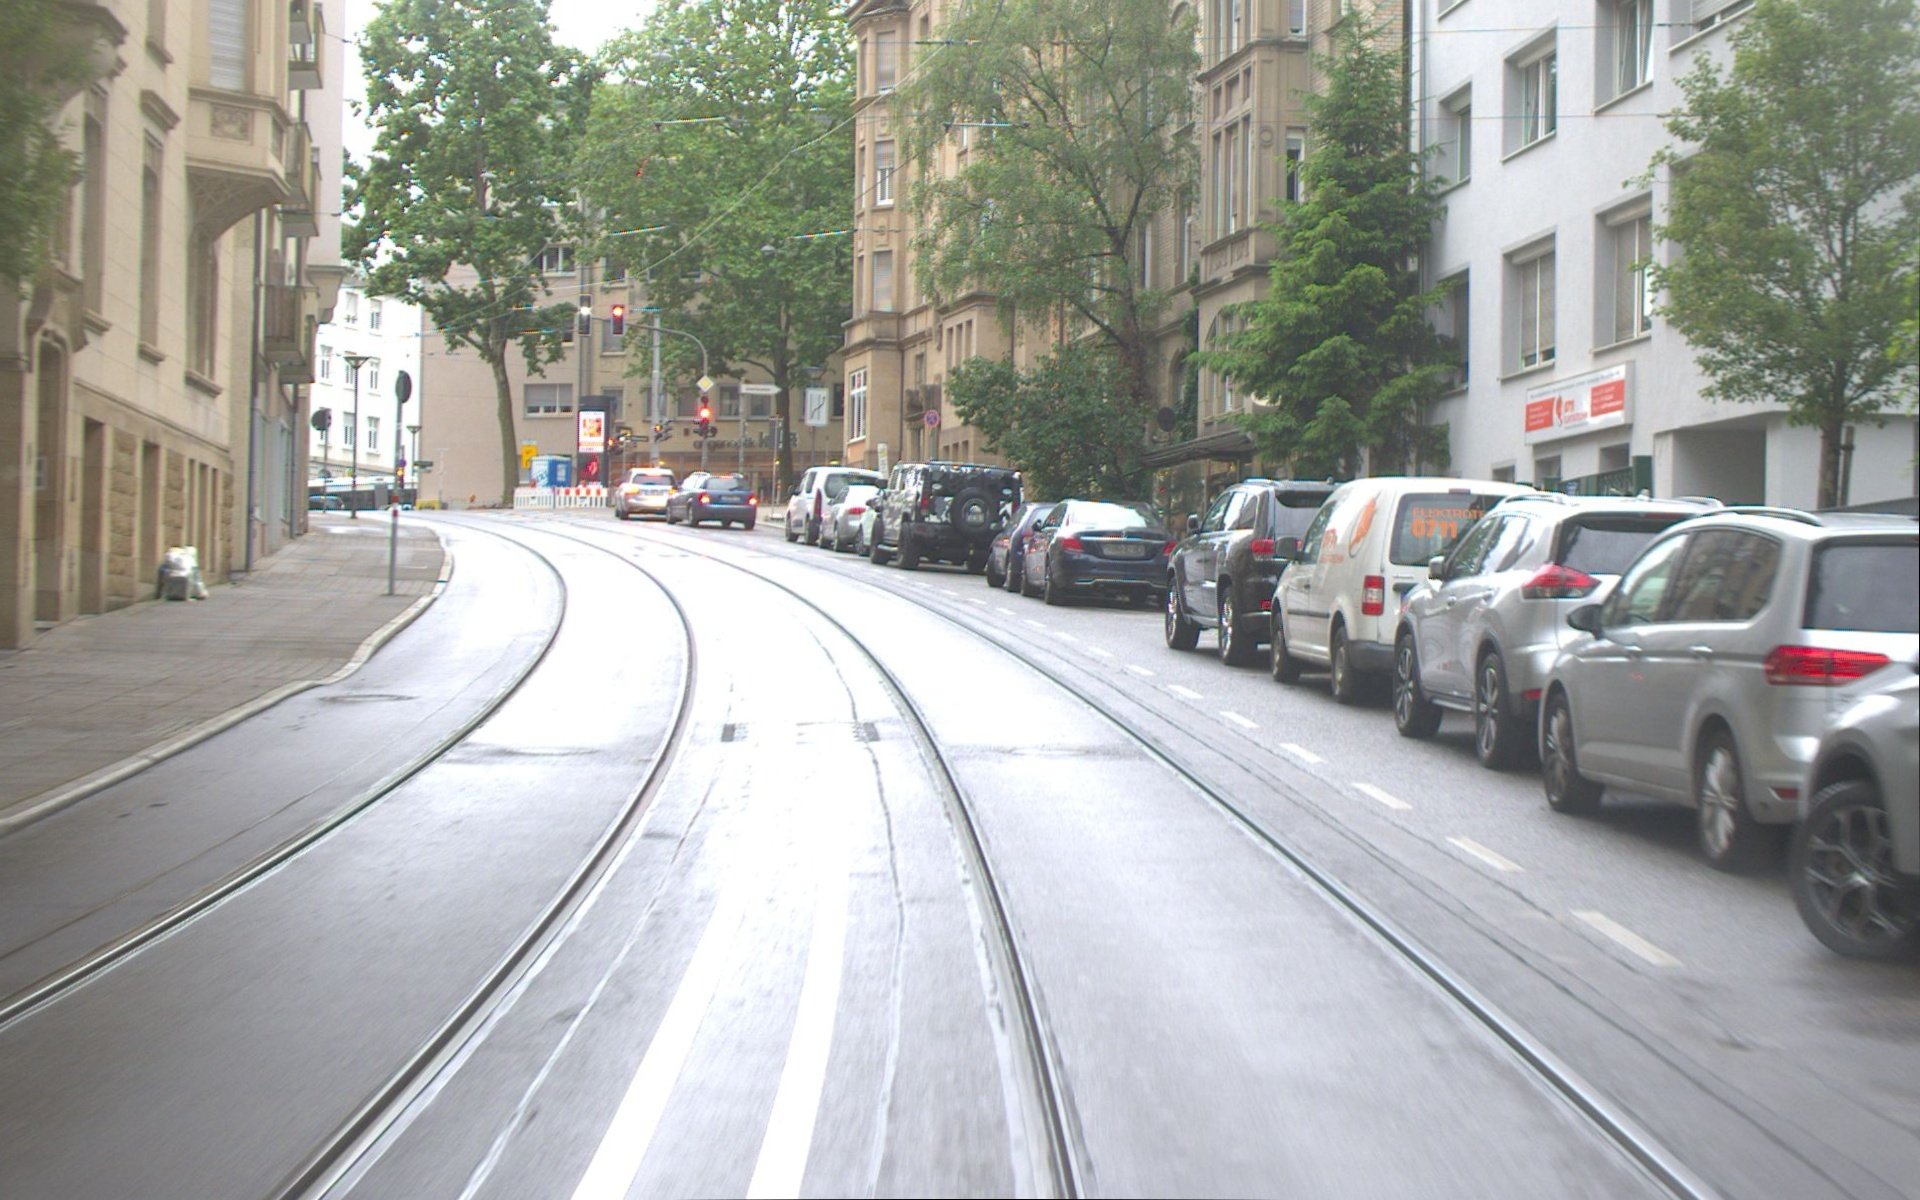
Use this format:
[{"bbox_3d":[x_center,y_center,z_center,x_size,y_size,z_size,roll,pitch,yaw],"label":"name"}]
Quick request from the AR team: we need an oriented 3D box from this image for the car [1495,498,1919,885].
[{"bbox_3d":[4.158,0.341,17.086,1.832,1.622,4.665,2,2,-5],"label":"car"}]

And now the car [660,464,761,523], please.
[{"bbox_3d":[-6.680,-2.848,91.760,1.710,1.410,4.038,1,3,-18],"label":"car"}]

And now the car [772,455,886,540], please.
[{"bbox_3d":[-3.018,-2.356,78.169,1.797,1.759,4.465,3,2,-12],"label":"car"}]

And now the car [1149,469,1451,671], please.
[{"bbox_3d":[3.272,-0.353,34.109,1.942,1.789,4.822,2,2,-6],"label":"car"}]

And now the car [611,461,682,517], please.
[{"bbox_3d":[-8.922,-3.160,97.602,1.710,1.451,3.554,2,2,-9],"label":"car"}]

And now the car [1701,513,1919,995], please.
[{"bbox_3d":[4.218,0.556,11.319,1.974,1.579,4.568,2,2,-8],"label":"car"}]

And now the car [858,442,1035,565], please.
[{"bbox_3d":[-0.299,-1.779,61.975,2.128,2.006,5.352,3,2,-11],"label":"car"}]

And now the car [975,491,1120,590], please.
[{"bbox_3d":[1.285,-0.929,52.036,1.678,1.333,3.884,2,2,-6],"label":"car"}]

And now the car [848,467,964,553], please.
[{"bbox_3d":[-1.103,-1.796,67.925,1.559,1.540,3.586,3,2,-12],"label":"car"}]

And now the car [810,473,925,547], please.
[{"bbox_3d":[-2.001,-1.938,72.878,1.748,1.395,4.480,3,2,-10],"label":"car"}]

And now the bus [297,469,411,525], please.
[{"bbox_3d":[-32.142,-5.532,182.699,2.856,2.851,8.729,1,2,12],"label":"bus"}]

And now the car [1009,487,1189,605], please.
[{"bbox_3d":[1.861,-0.781,47.473,1.794,1.432,4.612,2,2,-6],"label":"car"}]

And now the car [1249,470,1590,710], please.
[{"bbox_3d":[3.737,-0.143,28.751,1.778,1.789,4.472,2,2,-6],"label":"car"}]

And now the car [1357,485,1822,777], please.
[{"bbox_3d":[3.981,0.112,22.585,1.832,1.650,4.688,2,2,-4],"label":"car"}]
